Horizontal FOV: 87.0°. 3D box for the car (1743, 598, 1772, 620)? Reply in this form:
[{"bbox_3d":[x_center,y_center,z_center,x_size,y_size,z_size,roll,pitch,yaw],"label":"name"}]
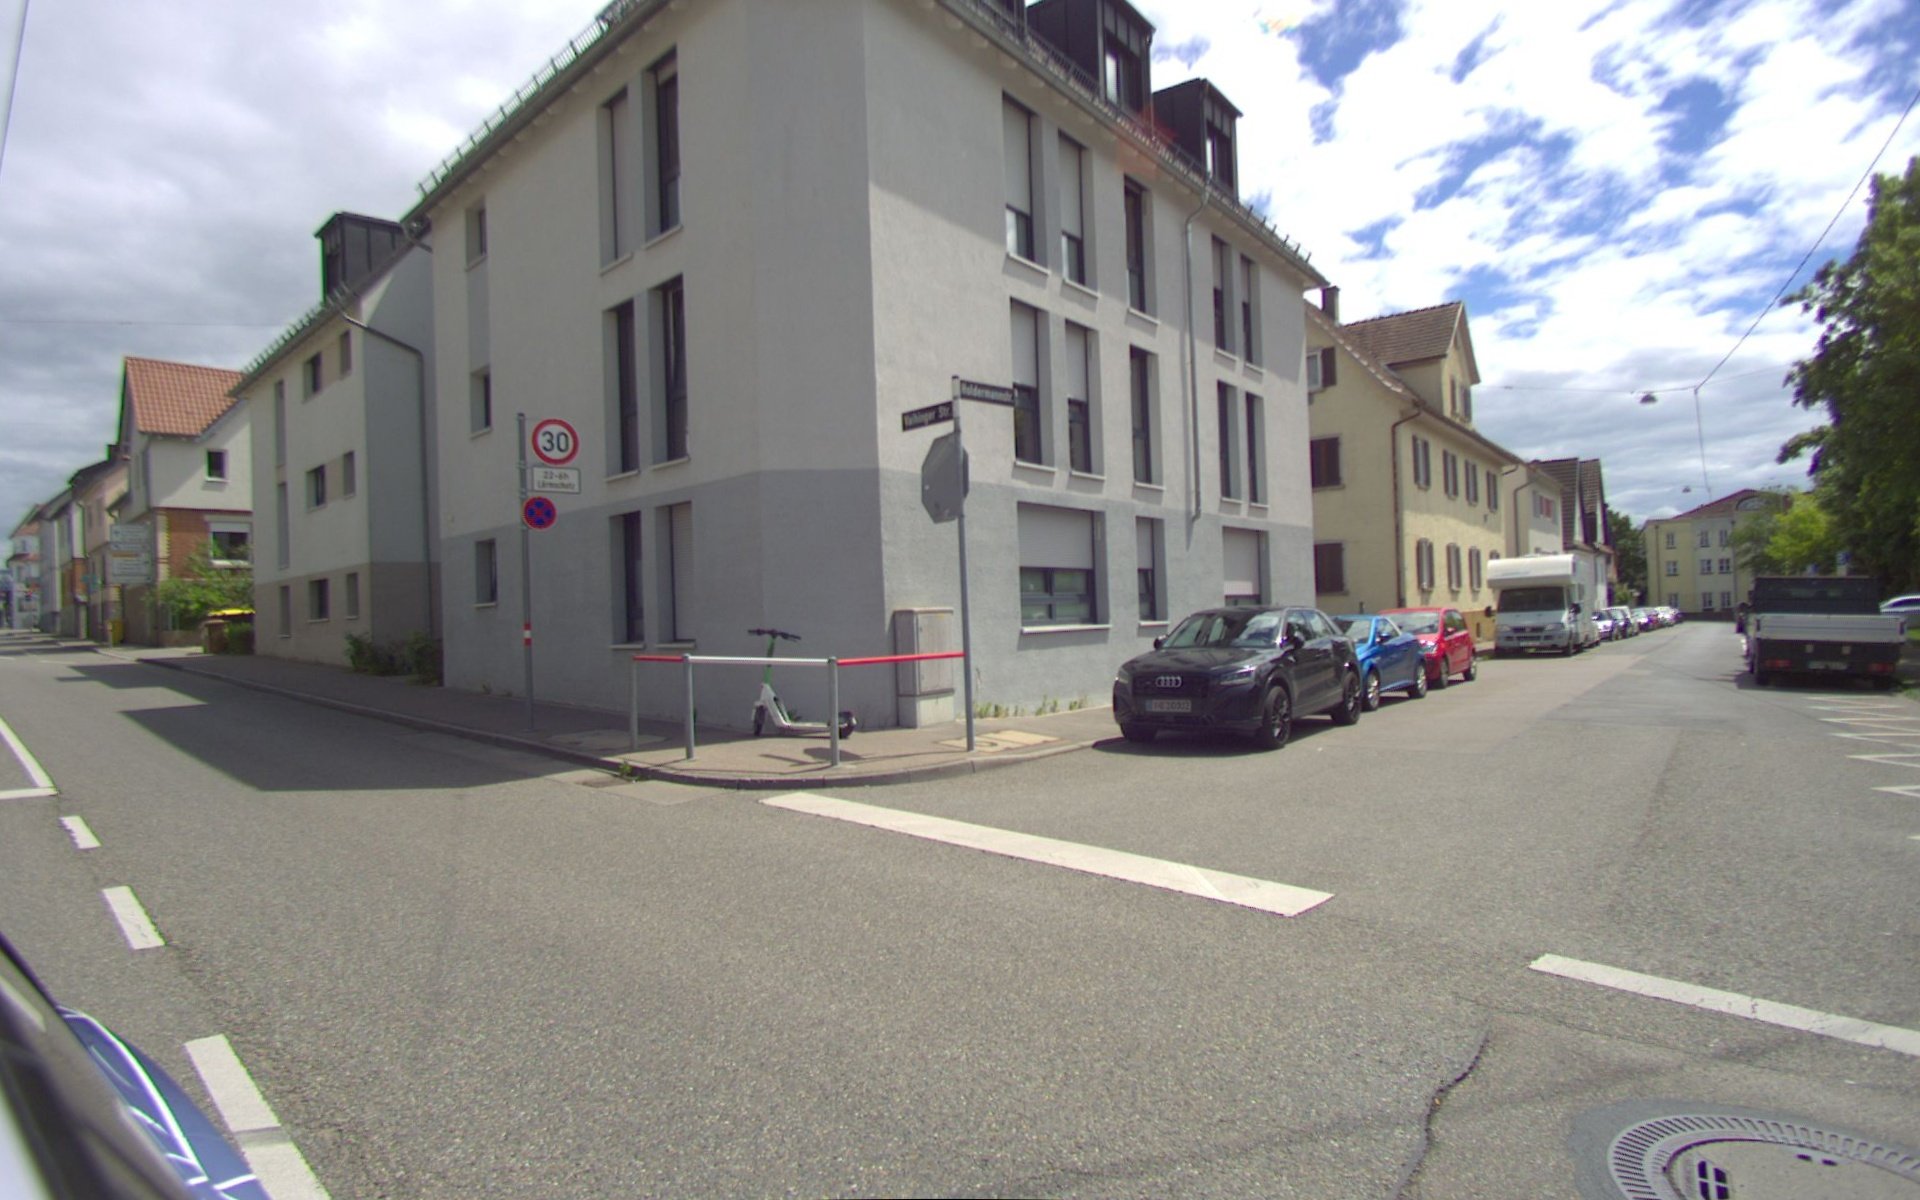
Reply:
[{"bbox_3d":[47.813,0.526,60.695,1.287,1.262,3.012,-1,0,37],"label":"car"}]

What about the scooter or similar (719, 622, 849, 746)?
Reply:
[{"bbox_3d":[-1.897,0.885,10.916,1.294,1.271,0.489,-1,0,14],"label":"scooter or similar"}]

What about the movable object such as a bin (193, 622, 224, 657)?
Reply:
[{"bbox_3d":[-23.831,1.249,32.086,0.660,1.083,0.634,-1,0,40],"label":"movable object such as a bin"}]

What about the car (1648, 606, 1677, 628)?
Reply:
[{"bbox_3d":[52.906,1.273,76.173,1.474,1.653,3.394,-1,0,40],"label":"car"}]

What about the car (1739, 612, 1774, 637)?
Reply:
[{"bbox_3d":[41.329,1.258,52.550,1.287,1.262,3.012,-1,0,37],"label":"car"}]

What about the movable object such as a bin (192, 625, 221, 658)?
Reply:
[{"bbox_3d":[-24.317,1.330,32.660,0.657,1.008,0.634,-1,0,42],"label":"movable object such as a bin"}]

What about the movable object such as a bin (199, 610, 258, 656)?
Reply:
[{"bbox_3d":[-24.372,1.085,33.707,1.169,1.457,1.321,-1,0,39],"label":"movable object such as a bin"}]

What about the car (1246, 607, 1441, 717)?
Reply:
[{"bbox_3d":[5.931,0.872,15.420,1.600,1.411,3.744,-4,-2,40],"label":"car"}]

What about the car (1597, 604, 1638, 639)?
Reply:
[{"bbox_3d":[33.371,1.066,51.333,1.473,1.653,3.397,-1,0,37],"label":"car"}]

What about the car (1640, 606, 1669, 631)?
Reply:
[{"bbox_3d":[49.347,1.296,71.887,1.474,1.653,3.395,-1,0,39],"label":"car"}]

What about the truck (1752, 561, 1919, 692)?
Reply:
[{"bbox_3d":[15.779,0.405,18.383,2.142,2.050,4.988,0,0,38],"label":"truck"}]

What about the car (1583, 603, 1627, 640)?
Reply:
[{"bbox_3d":[30.494,0.985,47.795,1.473,1.653,3.397,-1,0,37],"label":"car"}]

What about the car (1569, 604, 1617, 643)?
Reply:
[{"bbox_3d":[27.754,1.004,44.361,1.473,1.653,3.397,-1,0,37],"label":"car"}]

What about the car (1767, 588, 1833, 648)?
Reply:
[{"bbox_3d":[24.570,0.501,29.665,1.287,1.650,3.012,-1,0,37],"label":"car"}]

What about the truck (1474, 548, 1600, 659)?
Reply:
[{"bbox_3d":[18.101,0.144,31.524,2.499,2.948,7.280,-5,-3,35],"label":"truck"}]

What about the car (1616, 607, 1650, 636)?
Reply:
[{"bbox_3d":[39.792,1.232,59.796,1.473,1.653,3.397,-1,0,37],"label":"car"}]

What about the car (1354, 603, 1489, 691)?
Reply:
[{"bbox_3d":[8.805,0.841,19.176,1.547,1.484,3.567,-5,-3,36],"label":"car"}]

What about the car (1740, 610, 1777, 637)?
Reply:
[{"bbox_3d":[38.493,1.104,48.824,1.287,1.262,3.012,-1,0,37],"label":"car"}]

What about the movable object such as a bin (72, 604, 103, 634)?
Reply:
[{"bbox_3d":[-37.338,0.811,43.300,0.801,1.169,0.758,3,8,37],"label":"movable object such as a bin"}]

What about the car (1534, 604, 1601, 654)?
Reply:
[{"bbox_3d":[21.962,0.996,36.557,1.692,1.696,3.480,-1,0,37],"label":"car"}]

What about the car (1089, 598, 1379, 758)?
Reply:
[{"bbox_3d":[3.343,0.785,11.834,1.855,1.488,3.949,-4,-1,38],"label":"car"}]
